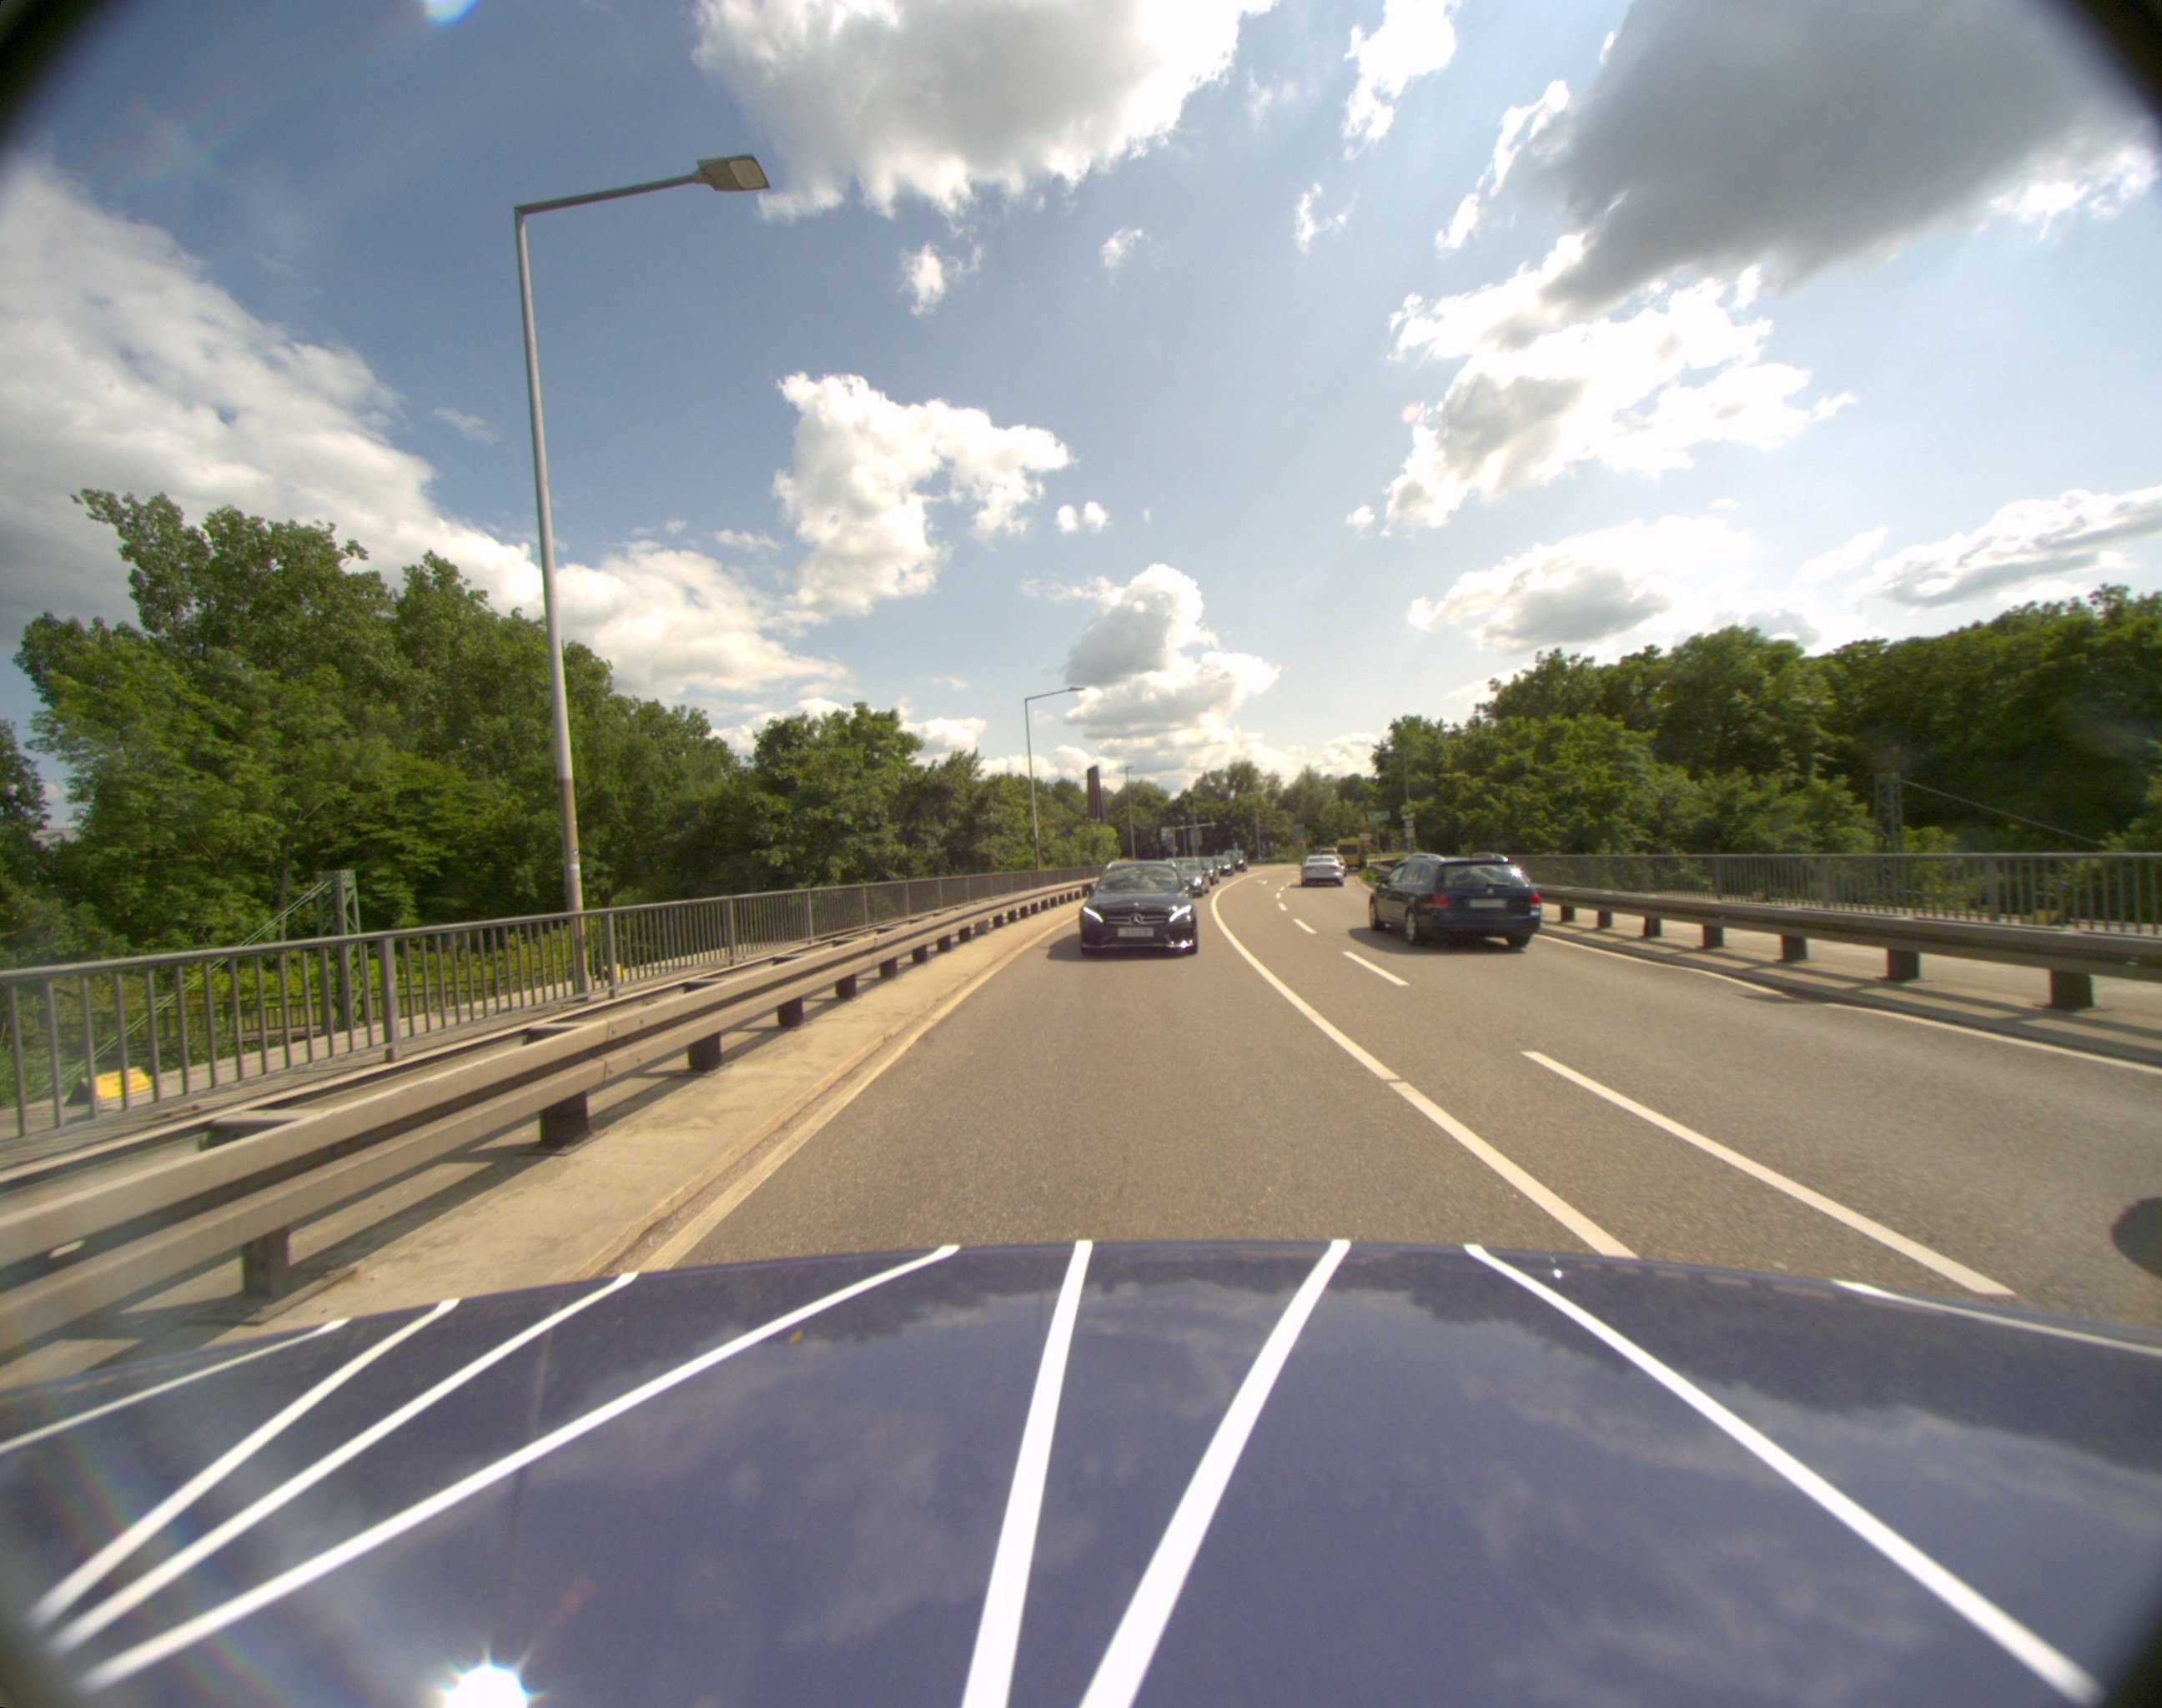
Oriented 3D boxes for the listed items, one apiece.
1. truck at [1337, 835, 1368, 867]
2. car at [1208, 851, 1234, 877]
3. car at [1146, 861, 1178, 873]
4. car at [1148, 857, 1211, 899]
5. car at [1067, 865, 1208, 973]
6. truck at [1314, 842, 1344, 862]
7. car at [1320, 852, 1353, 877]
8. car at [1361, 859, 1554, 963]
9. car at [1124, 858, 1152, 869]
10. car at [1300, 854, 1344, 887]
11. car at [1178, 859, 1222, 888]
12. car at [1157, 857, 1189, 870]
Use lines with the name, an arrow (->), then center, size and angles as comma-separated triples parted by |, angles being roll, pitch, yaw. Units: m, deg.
truck -> 22.988, -0.251, 64.146 | 1.995, 2.605, 6.114 | 0, 0, 24
car -> 9.957, 0.685, 54.045 | 1.636, 1.505, 3.721 | -4, 3, 11
car -> 11.069, 1.763, 104.066 | 1.762, 1.367, 4.205 | -2, -2, -41
car -> 3.780, 0.871, 28.635 | 1.856, 1.355, 4.004 | -1, 1, 15
car -> 1.155, 0.963, 13.127 | 1.793, 1.427, 4.373 | 0, 1, 13
truck -> 25.431, -0.230, 77.805 | 1.962, 1.902, 5.380 | -1, 0, 27
car -> 16.351, 0.624, 48.530 | 1.749, 1.441, 4.343 | -1, 1, 22
car -> 6.197, 0.835, 13.085 | 1.662, 1.445, 4.329 | -1, 0, 8
car -> 8.452, 1.405, 112.479 | 1.649, 1.367, 4.205 | -2, -2, -41
car -> 11.269, 0.751, 35.730 | 1.796, 1.367, 4.585 | -2, 0, 16
car -> 6.327, 0.977, 40.037 | 1.820, 1.329, 4.734 | -4, -1, 13
car -> 13.039, 1.327, 107.543 | 1.841, 1.635, 4.205 | -2, -2, -41
